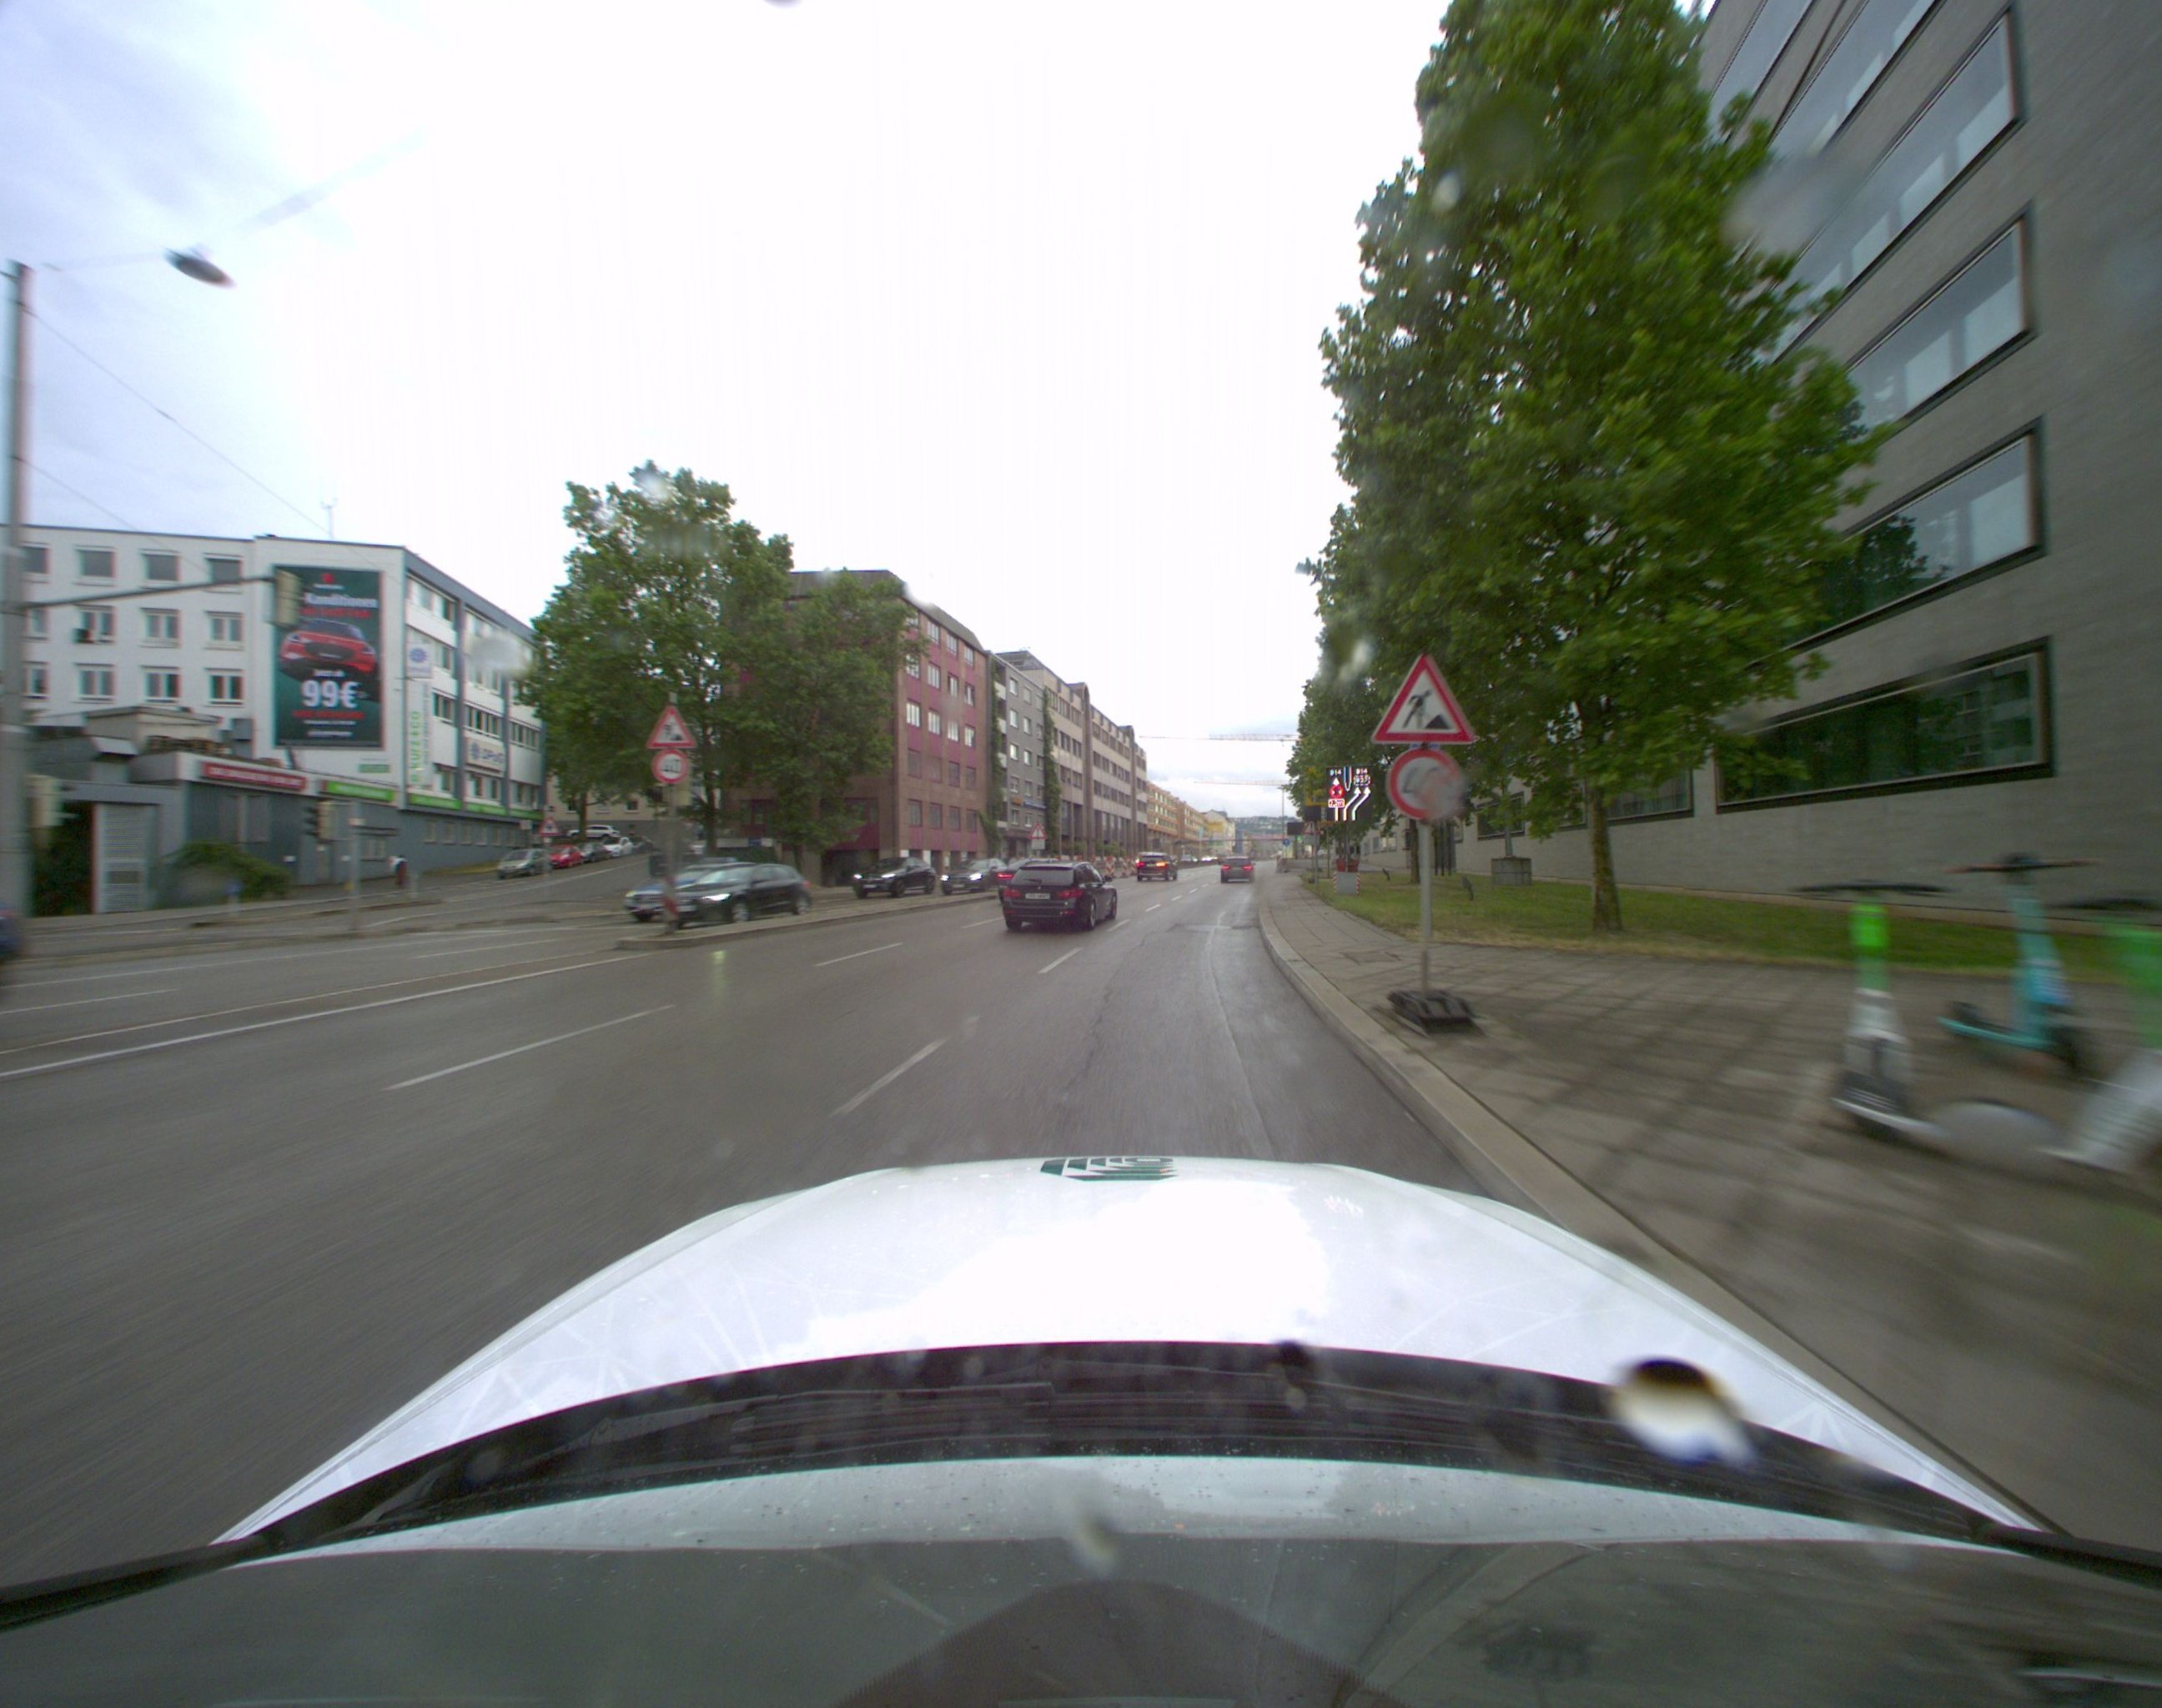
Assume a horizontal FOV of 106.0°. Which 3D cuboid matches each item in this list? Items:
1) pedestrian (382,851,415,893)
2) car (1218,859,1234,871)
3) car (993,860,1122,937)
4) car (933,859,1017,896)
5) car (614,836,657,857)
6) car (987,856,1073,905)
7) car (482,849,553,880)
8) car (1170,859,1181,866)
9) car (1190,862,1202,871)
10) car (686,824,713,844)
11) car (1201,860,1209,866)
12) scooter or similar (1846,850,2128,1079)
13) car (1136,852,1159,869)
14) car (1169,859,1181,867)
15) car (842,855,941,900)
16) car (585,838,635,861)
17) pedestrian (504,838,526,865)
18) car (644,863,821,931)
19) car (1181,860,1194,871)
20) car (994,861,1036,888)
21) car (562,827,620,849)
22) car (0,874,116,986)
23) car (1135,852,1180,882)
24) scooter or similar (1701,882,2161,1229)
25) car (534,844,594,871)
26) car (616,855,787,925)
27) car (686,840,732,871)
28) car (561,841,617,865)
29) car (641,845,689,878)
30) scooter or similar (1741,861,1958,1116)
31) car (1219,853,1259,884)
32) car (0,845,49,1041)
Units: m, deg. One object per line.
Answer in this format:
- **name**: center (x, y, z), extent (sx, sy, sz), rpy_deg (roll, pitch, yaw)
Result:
- **pedestrian**: center (-33.303, 0.878, 39.742), extent (0.840, 2.014, 0.977), rpy_deg (-1, -1, -13)
- **car**: center (22.021, 1.652, 123.575), extent (1.885, 1.693, 4.017), rpy_deg (-2, -1, 17)
- **car**: center (-0.356, 0.868, 17.964), extent (1.779, 1.426, 4.628), rpy_deg (0, 0, 12)
- **car**: center (-4.476, 0.965, 35.206), extent (1.980, 1.438, 4.954), rpy_deg (-2, -1, 13)
- **car**: center (-36.597, -0.645, 67.047), extent (1.833, 1.430, 4.058), rpy_deg (-2, 3, -10)
- **car**: center (-1.570, 0.817, 26.669), extent (1.779, 1.426, 4.396), rpy_deg (-2, -1, 10)
- **car**: center (-32.909, 0.591, 47.717), extent (1.834, 1.462, 4.162), rpy_deg (-2, 4, -12)
- **car**: center (22.253, 1.986, 192.197), extent (1.979, 1.620, 4.334), rpy_deg (-2, -1, 14)
- **car**: center (22.145, 2.398, 156.275), extent (1.848, 1.533, 4.245), rpy_deg (-2, -1, 13)
- **car**: center (-42.875, -2.263, 91.641), extent (1.997, 2.014, 3.980), rpy_deg (-1, -1, -14)
- **car**: center (31.119, 2.254, 204.115), extent (1.591, 1.442, 3.671), rpy_deg (-2, 1, 14)
- **scooter or similar**: center (5.443, 0.594, 5.006), extent (0.558, 1.201, 1.332), rpy_deg (-2, -1, 20)
- **car**: center (7.920, 0.786, 96.525), extent (1.980, 1.990, 5.307), rpy_deg (-2, -1, 13)
- **car**: center (20.919, 2.057, 180.933), extent (1.979, 1.620, 4.781), rpy_deg (-2, -1, 14)
- **car**: center (-7.776, 0.938, 33.957), extent (1.980, 1.677, 4.954), rpy_deg (-2, -1, 13)
- **car**: center (-35.872, -0.361, 62.171), extent (1.831, 1.430, 4.061), rpy_deg (-1, 4, -7)
- **pedestrian**: center (-36.461, -0.157, 52.463), extent (0.840, 1.717, 0.977), rpy_deg (-1, -1, -13)
- **car**: center (-8.083, 0.944, 19.342), extent (1.754, 1.417, 4.097), rpy_deg (-2, -1, 13)
- **car**: center (18.293, 1.925, 140.183), extent (1.708, 1.770, 4.442), rpy_deg (-2, -1, 14)
- **car**: center (-3.904, 1.203, 48.497), extent (1.544, 1.484, 2.962), rpy_deg (-2, 0, 16)
- **car**: center (-47.665, -1.537, 79.283), extent (4.428, 2.006, 1.988), rpy_deg (-1, -1, -18)
- **car**: center (-15.686, 1.052, 10.323), extent (1.752, 1.512, 4.130), rpy_deg (-2, -1, 8)
- **car**: center (4.599, 0.765, 48.494), extent (1.885, 1.693, 4.017), rpy_deg (-2, -1, 17)
- **scooter or similar**: center (3.769, 0.706, 3.591), extent (0.635, 1.128, 1.587), rpy_deg (-1, -1, -12)
- **car**: center (-33.742, 0.218, 53.244), extent (1.833, 1.430, 4.057), rpy_deg (-2, 4, -10)
- **car**: center (-10.241, 0.918, 22.421), extent (1.754, 1.682, 4.607), rpy_deg (-2, -1, 13)
- **car**: center (-24.943, 0.063, 54.766), extent (1.932, 1.867, 3.985), rpy_deg (-1, 3, -12)
- **car**: center (-34.721, -0.095, 57.649), extent (1.831, 1.430, 4.061), rpy_deg (-1, 4, -7)
- **car**: center (-24.643, 0.409, 48.361), extent (1.936, 1.868, 3.976), rpy_deg (1, 0, -18)
- **scooter or similar**: center (4.367, 0.657, 4.607), extent (1.345, 1.201, 0.681), rpy_deg (-1, -1, -39)
- **car**: center (8.948, 0.800, 45.822), extent (1.886, 1.693, 4.016), rpy_deg (0, -1, 16)
- **car**: center (-10.076, 0.764, 4.823), extent (1.845, 1.622, 4.598), rpy_deg (-3, -1, 5)
